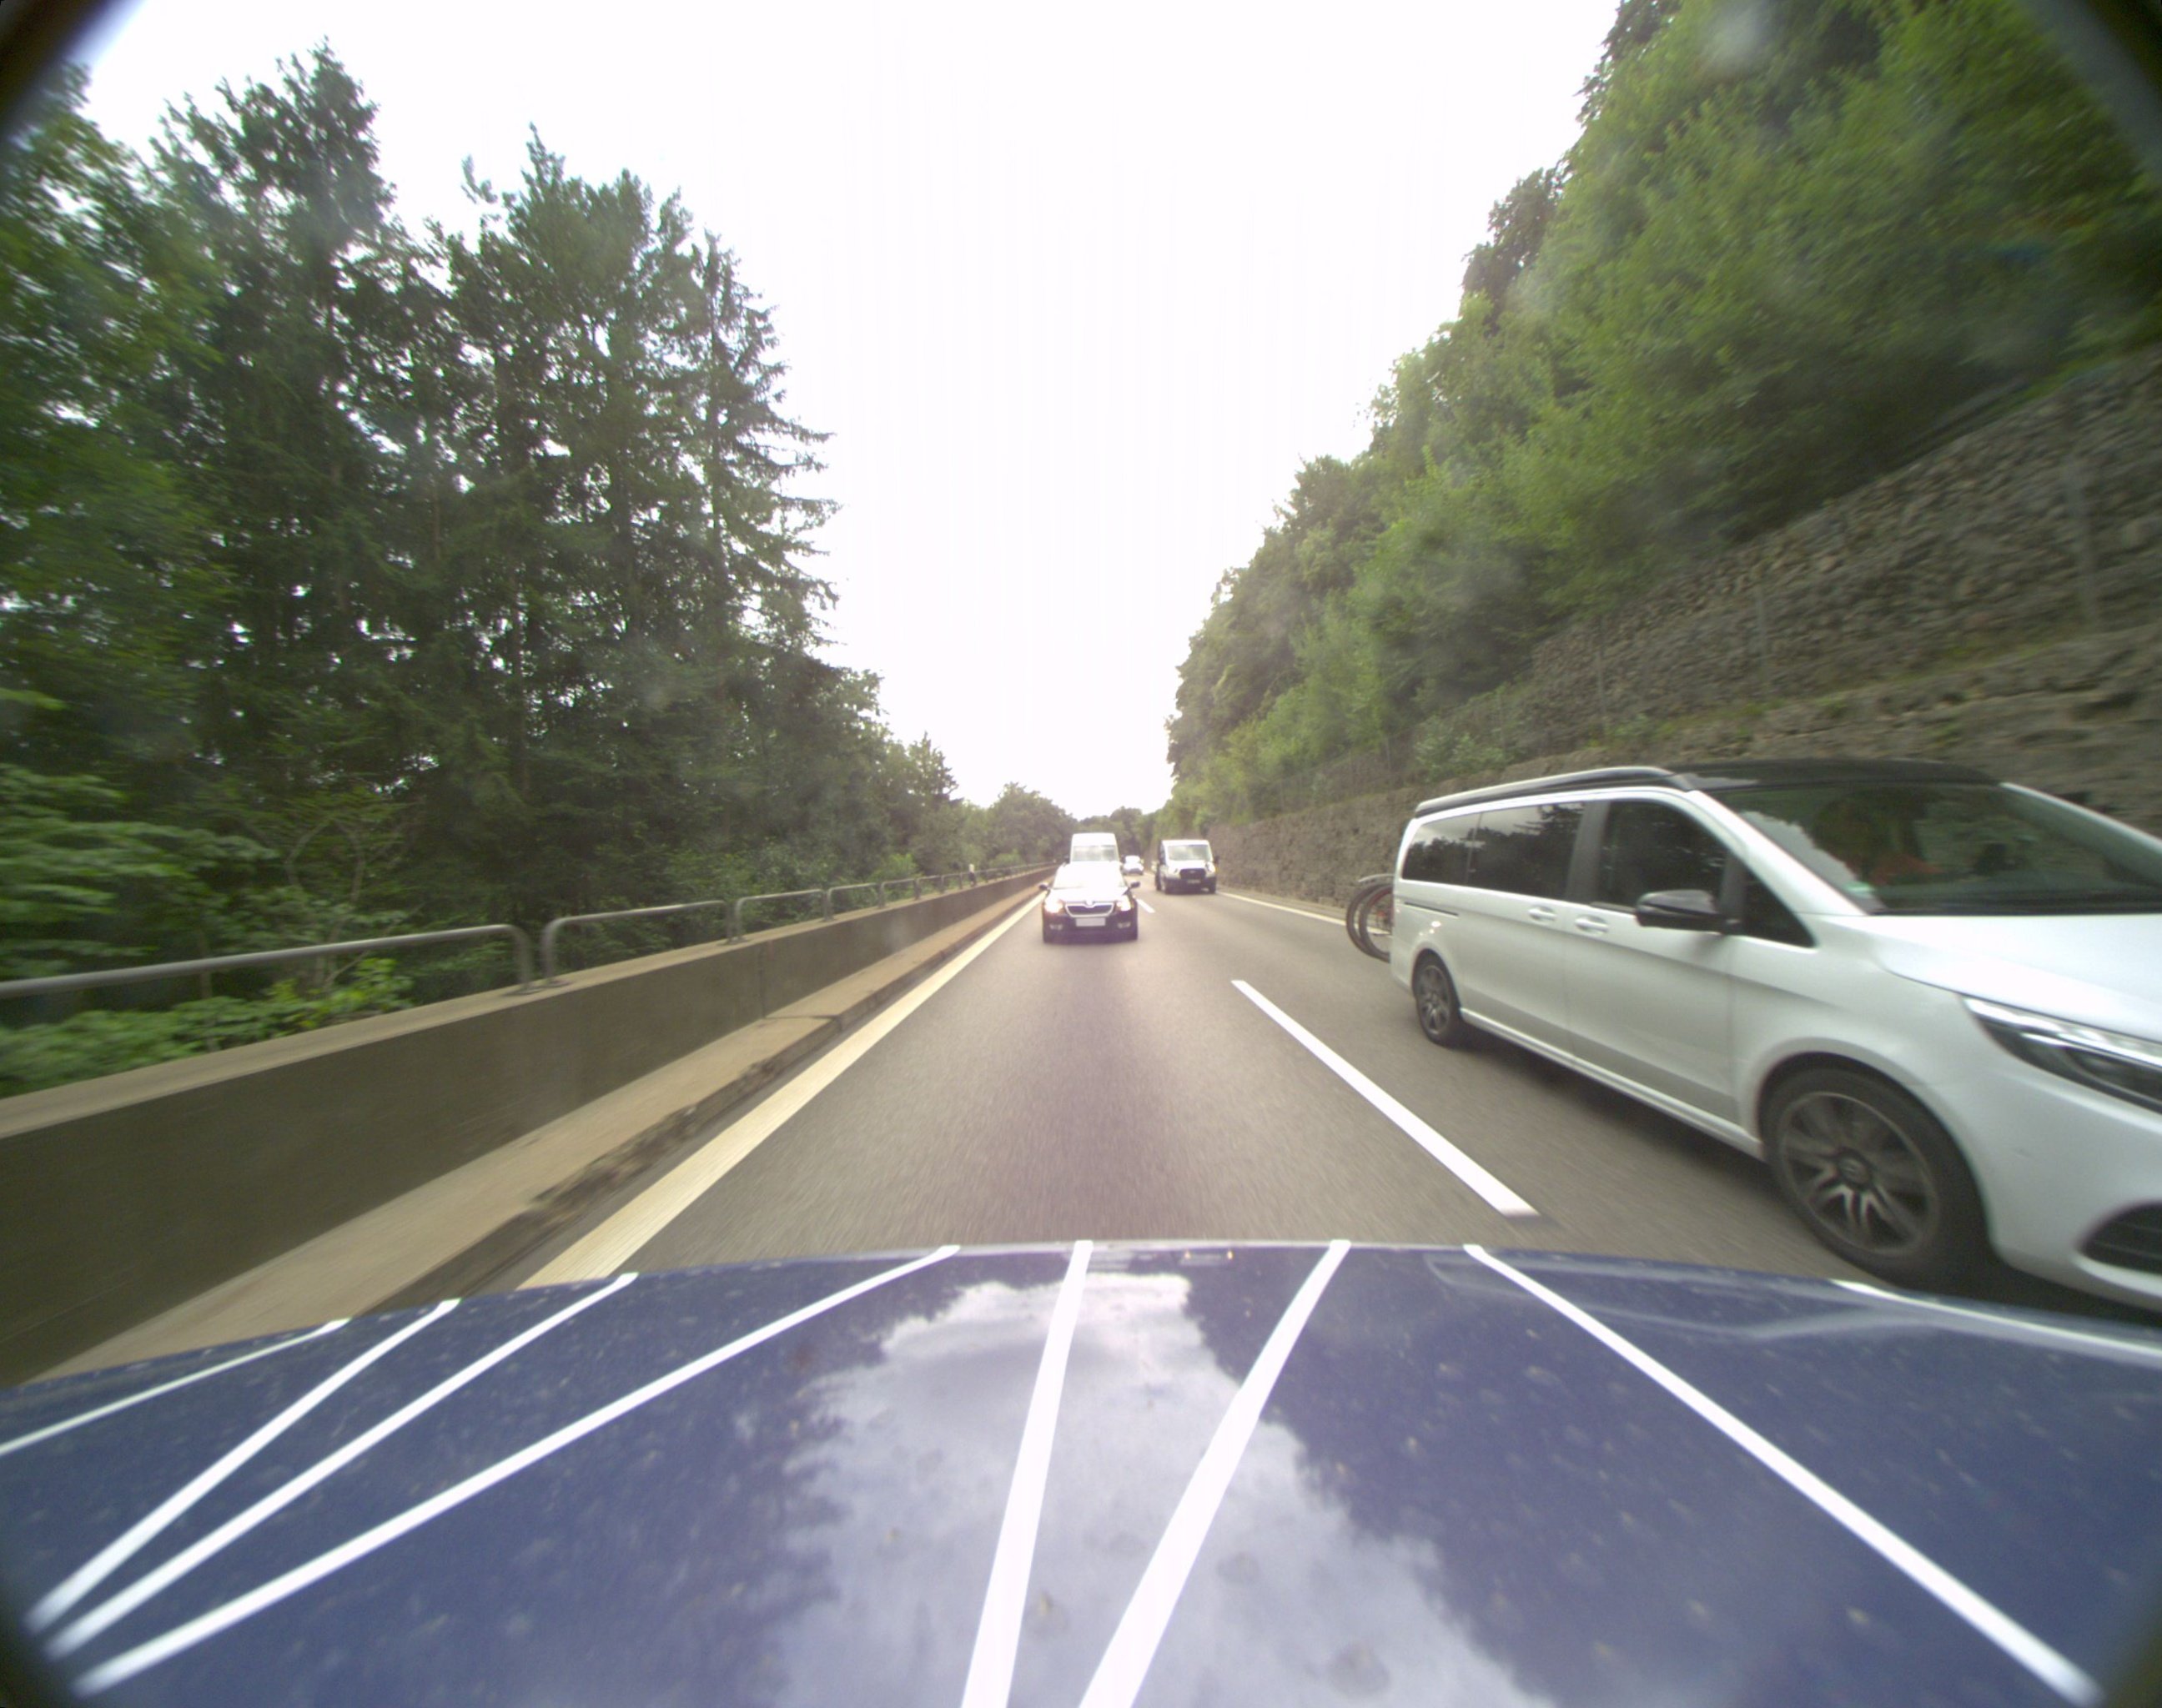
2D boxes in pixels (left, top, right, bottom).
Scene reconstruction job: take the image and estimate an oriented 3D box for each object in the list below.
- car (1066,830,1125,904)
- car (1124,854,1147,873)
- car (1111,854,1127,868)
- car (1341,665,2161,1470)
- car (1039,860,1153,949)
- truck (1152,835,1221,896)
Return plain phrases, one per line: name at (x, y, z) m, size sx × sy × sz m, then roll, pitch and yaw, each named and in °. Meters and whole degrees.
car at (0.650, 0.421, 29.311) m, size 1.998 × 2.550 × 5.919 m, roll -1°, pitch 1°, yaw 3°
car at (4.734, 0.779, 66.403) m, size 1.711 × 1.568 × 4.602 m, roll -2°, pitch 0°, yaw 1°
car at (4.521, 0.795, 90.763) m, size 1.711 × 1.568 × 4.602 m, roll -2°, pitch 0°, yaw 1°
car at (3.610, 0.481, 4.553) m, size 1.998 × 1.941 × 6.147 m, roll -2°, pitch 0°, yaw 1°
car at (0.208, 0.900, 16.041) m, size 1.913 × 1.391 × 5.695 m, roll -3°, pitch 0°, yaw -1°
truck at (4.370, 0.445, 32.518) m, size 1.998 × 2.266 × 6.585 m, roll -2°, pitch 0°, yaw 0°
